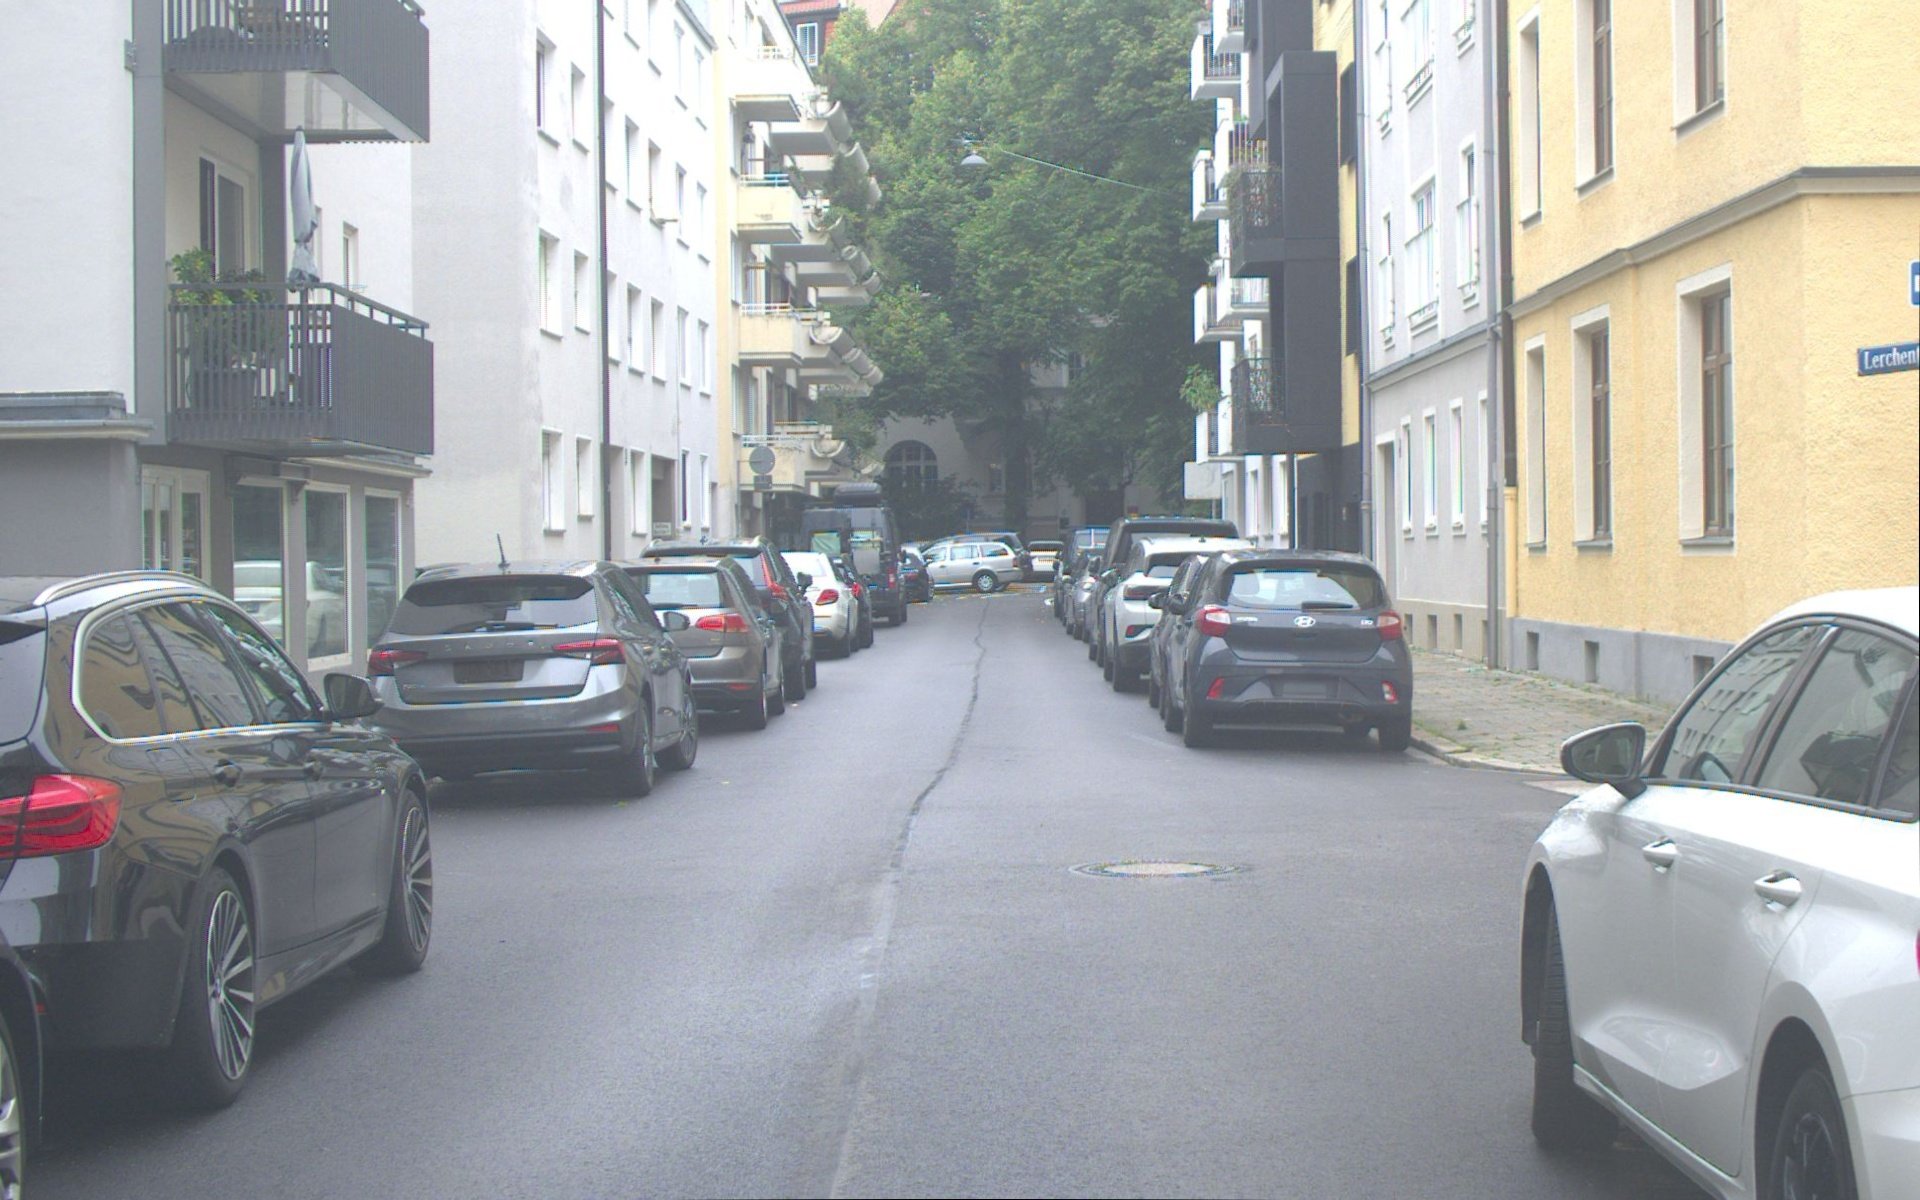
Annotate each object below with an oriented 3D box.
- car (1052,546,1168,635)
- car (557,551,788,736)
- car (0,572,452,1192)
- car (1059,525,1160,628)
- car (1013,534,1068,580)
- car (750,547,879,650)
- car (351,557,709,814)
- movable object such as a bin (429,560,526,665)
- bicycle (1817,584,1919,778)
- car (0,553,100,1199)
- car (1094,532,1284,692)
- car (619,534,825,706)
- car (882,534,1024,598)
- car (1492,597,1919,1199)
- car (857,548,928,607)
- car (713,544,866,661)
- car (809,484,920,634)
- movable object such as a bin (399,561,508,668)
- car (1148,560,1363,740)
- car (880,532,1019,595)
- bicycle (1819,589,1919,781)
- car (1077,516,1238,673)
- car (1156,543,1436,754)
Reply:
[{"bbox_3d":[2.632,-0.197,61.286,1.829,1.449,4.416,2,1,0],"label":"car"},{"bbox_3d":[-2.425,0.325,29.801,1.693,1.437,3.978,-2,1,-1],"label":"car"},{"bbox_3d":[-2.828,0.666,10.259,1.856,1.403,4.383,-2,1,1],"label":"car"},{"bbox_3d":[3.056,-0.511,71.167,1.829,1.992,4.416,2,1,0],"label":"car"},{"bbox_3d":[2.645,-1.430,113.823,1.642,1.379,3.746,-3,1,0],"label":"car"},{"bbox_3d":[-2.237,-0.054,53.756,1.777,1.448,4.046,-3,1,0],"label":"car"},{"bbox_3d":[-2.661,0.475,22.087,1.693,1.437,3.942,-2,1,1],"label":"car"},{"bbox_3d":[-6.456,0.157,46.068,1.047,1.332,0.993,-3,1,4],"label":"movable object such as a bin"},{"bbox_3d":[6.377,0.483,21.646,1.808,1.170,0.505,-2,2,-1],"label":"bicycle"},{"bbox_3d":[-2.778,0.710,5.078,1.766,1.478,4.424,-1,1,2],"label":"car"},{"bbox_3d":[2.408,0.080,37.054,1.682,1.562,4.416,2,1,0],"label":"car"},{"bbox_3d":[-2.398,0.157,35.627,1.777,1.623,4.415,-2,1,0],"label":"car"},{"bbox_3d":[-0.197,-0.967,97.027,3.885,1.579,1.648,-3,1,0],"label":"car"},{"bbox_3d":[2.293,0.736,6.935,1.819,1.403,3.952,0,1,0],"label":"car"},{"bbox_3d":[-1.699,-0.592,87.271,1.642,1.379,3.483,-3,1,0],"label":"car"},{"bbox_3d":[-2.366,0.001,48.668,1.777,1.482,4.519,-3,1,1],"label":"car"},{"bbox_3d":[-1.863,-0.824,68.457,1.936,2.792,4.533,-3,1,0],"label":"car"},{"bbox_3d":[-6.618,0.181,44.994,1.166,1.332,1.025,-3,1,4],"label":"movable object such as a bin"},{"bbox_3d":[2.645,0.407,31.462,1.664,1.464,3.819,2,1,1],"label":"car"},{"bbox_3d":[-0.310,-1.045,98.999,3.885,1.579,1.648,-3,1,0],"label":"car"},{"bbox_3d":[6.205,0.502,21.157,1.713,1.135,0.374,-2,2,0],"label":"bicycle"},{"bbox_3d":[2.515,-0.107,44.662,1.829,1.903,4.416,1,1,1],"label":"car"},{"bbox_3d":[2.571,0.320,27.201,1.751,1.464,4.343,2,1,0],"label":"car"}]
